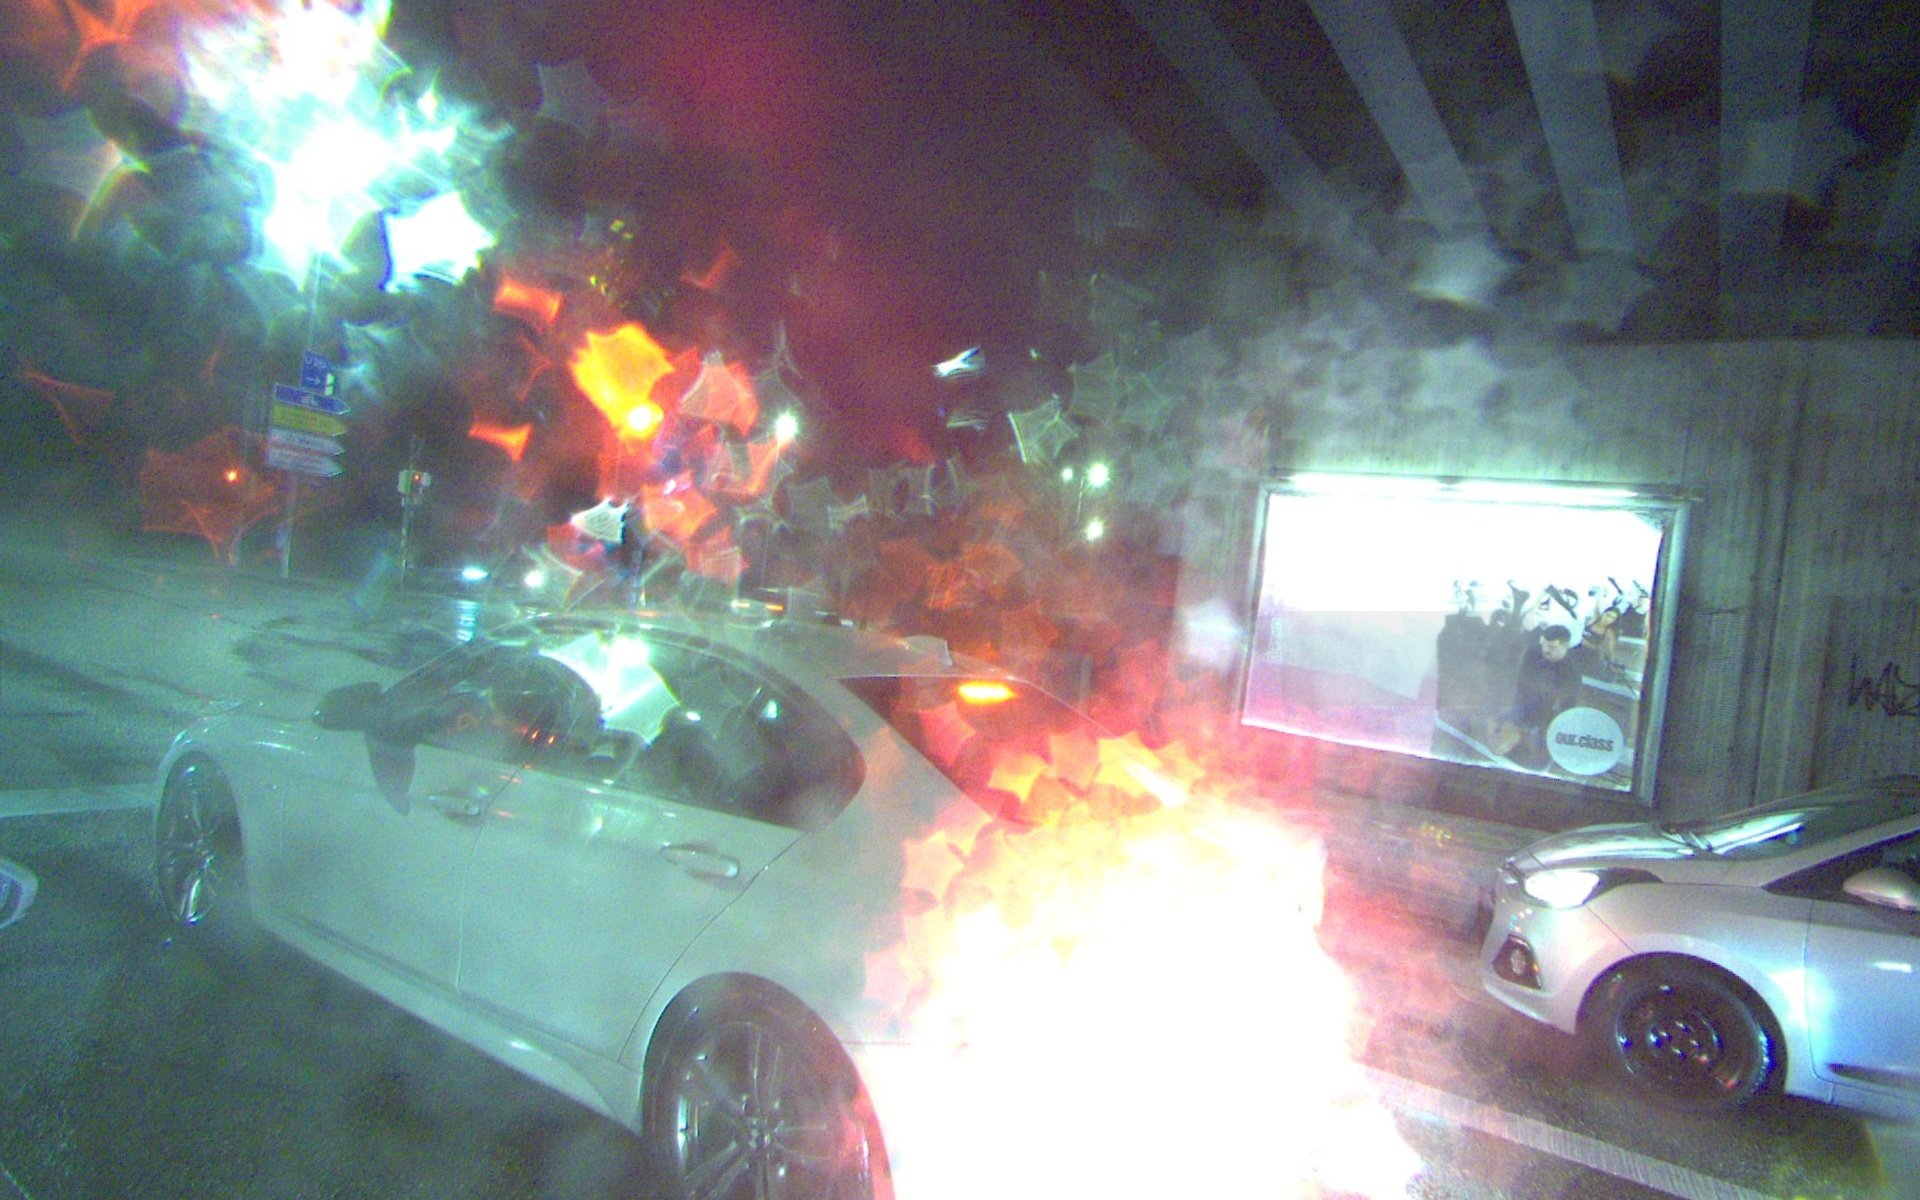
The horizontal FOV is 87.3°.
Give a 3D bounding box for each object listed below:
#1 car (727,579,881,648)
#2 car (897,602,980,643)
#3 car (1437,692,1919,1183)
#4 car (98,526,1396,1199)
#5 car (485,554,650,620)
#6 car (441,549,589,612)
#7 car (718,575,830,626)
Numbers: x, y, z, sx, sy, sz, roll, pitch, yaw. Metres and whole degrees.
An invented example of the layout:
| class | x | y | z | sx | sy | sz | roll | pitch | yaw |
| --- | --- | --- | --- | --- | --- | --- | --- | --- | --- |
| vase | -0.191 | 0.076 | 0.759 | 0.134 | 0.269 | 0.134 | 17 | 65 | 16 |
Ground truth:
| class | x | y | z | sx | sy | sz | roll | pitch | yaw |
| --- | --- | --- | --- | --- | --- | --- | --- | --- | --- |
| car | -4.880 | 0.483 | 32.175 | 1.967 | 1.628 | 4.961 | 6 | -2 | 32 |
| car | -1.071 | 1.197 | 52.695 | 1.827 | 1.609 | 4.335 | 6 | -2 | 40 |
| car | 4.276 | 1.394 | 3.960 | 4.092 | 1.465 | 1.722 | 6 | 0 | 31 |
| car | -0.981 | 0.693 | 3.511 | 4.309 | 1.465 | 1.722 | 6 | 0 | 31 |
| car | -13.228 | -0.406 | 34.173 | 1.826 | 1.609 | 4.850 | 6 | -2 | 38 |
| car | -15.668 | -0.665 | 35.623 | 1.827 | 1.609 | 4.335 | 6 | -2 | 40 |
| car | -7.739 | 0.043 | 42.261 | 1.827 | 1.609 | 4.335 | 6 | -2 | 40 |
